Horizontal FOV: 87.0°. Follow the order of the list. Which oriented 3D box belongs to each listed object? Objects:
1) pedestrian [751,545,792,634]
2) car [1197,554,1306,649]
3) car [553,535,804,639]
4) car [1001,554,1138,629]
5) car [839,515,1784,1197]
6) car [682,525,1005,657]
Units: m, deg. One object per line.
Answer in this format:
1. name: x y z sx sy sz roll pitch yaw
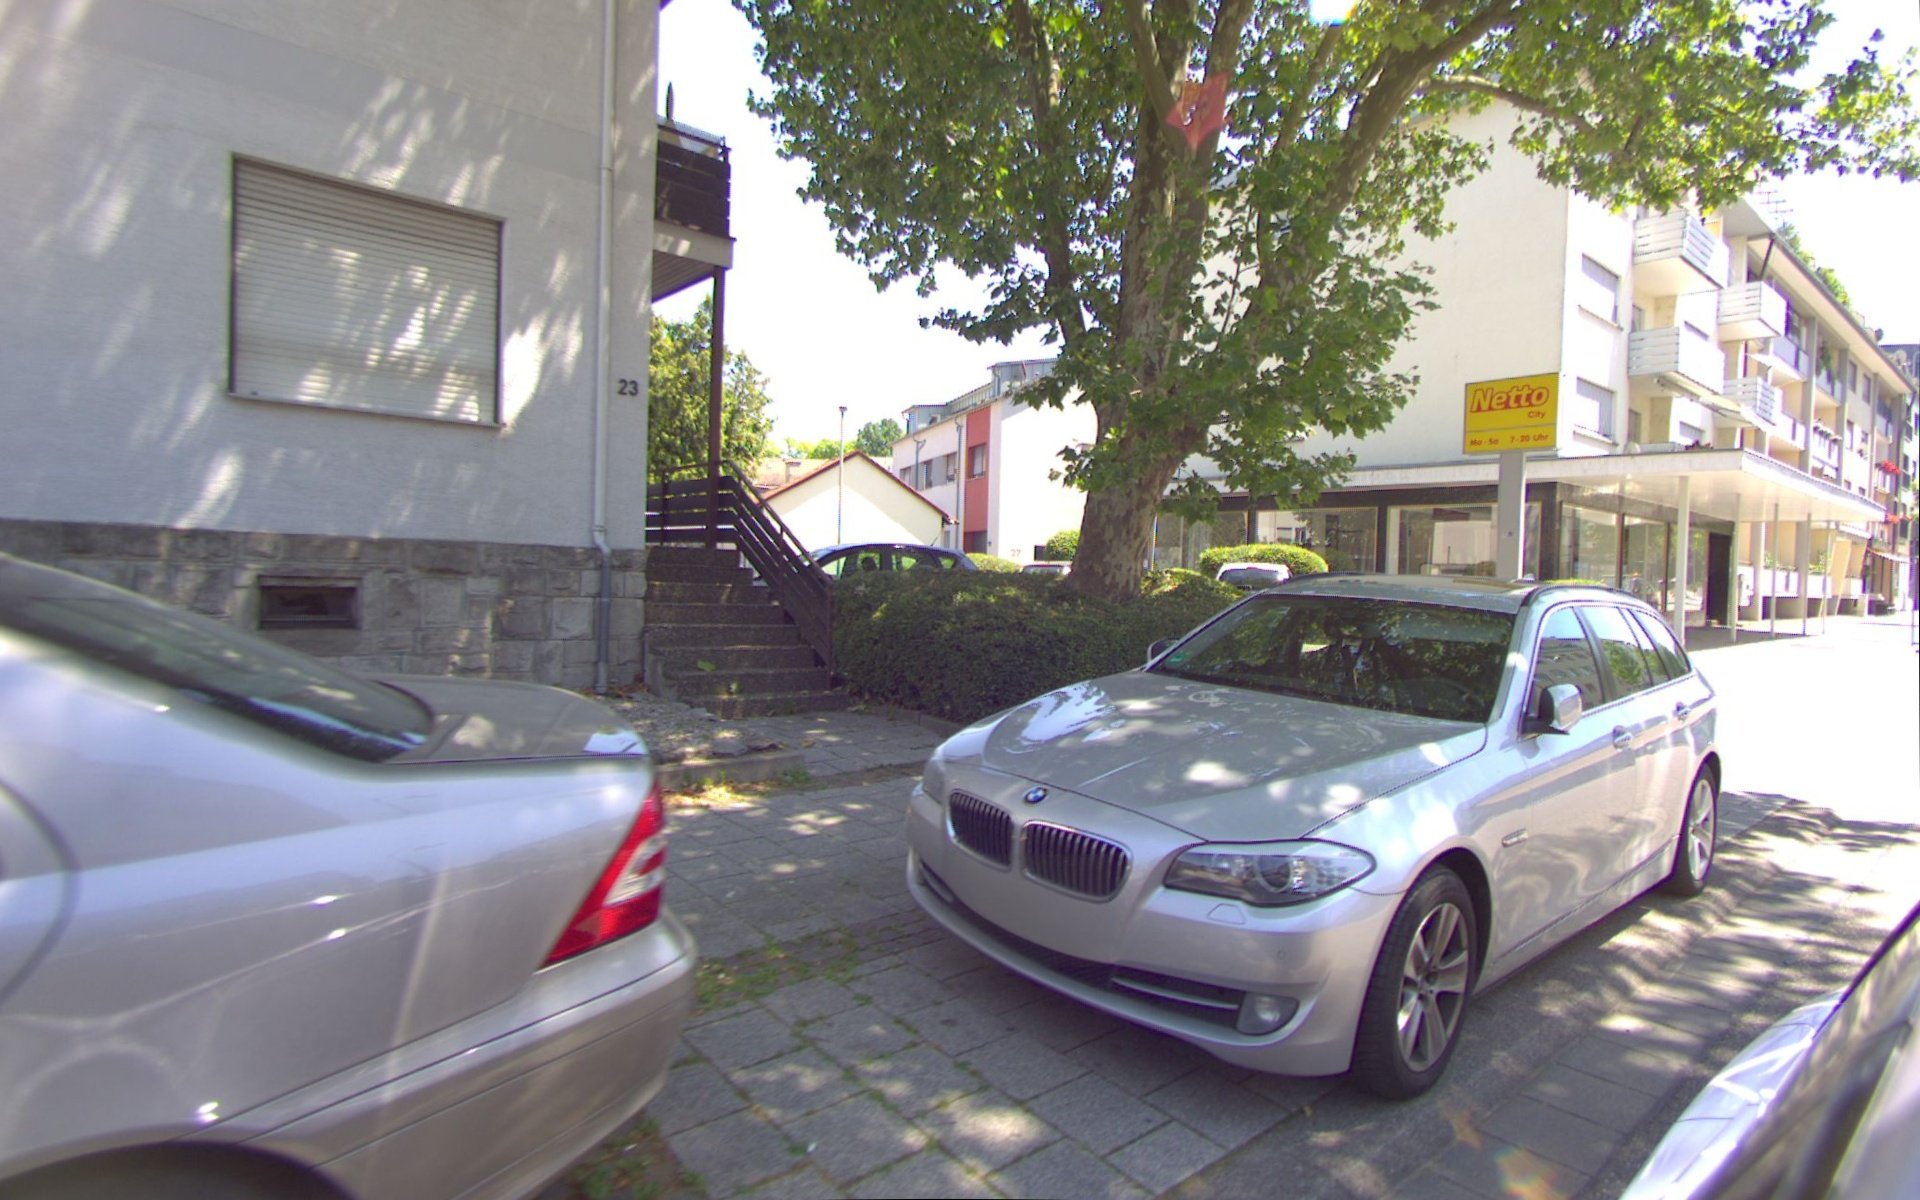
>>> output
1. pedestrian: -3.228 -0.191 17.308 0.505 1.486 0.606 0 2 -29
2. car: 5.362 -0.033 18.409 1.715 1.518 3.443 2 2 19
3. car: -4.671 -0.229 16.813 3.681 1.555 1.845 0 2 -29
4. car: 2.516 -0.233 22.648 1.724 1.518 3.591 1 2 31
5. car: 1.939 0.506 4.512 4.677 1.529 1.834 -1 5 -41
6. car: -1.548 -0.142 13.767 4.015 1.562 1.693 0 2 -29
